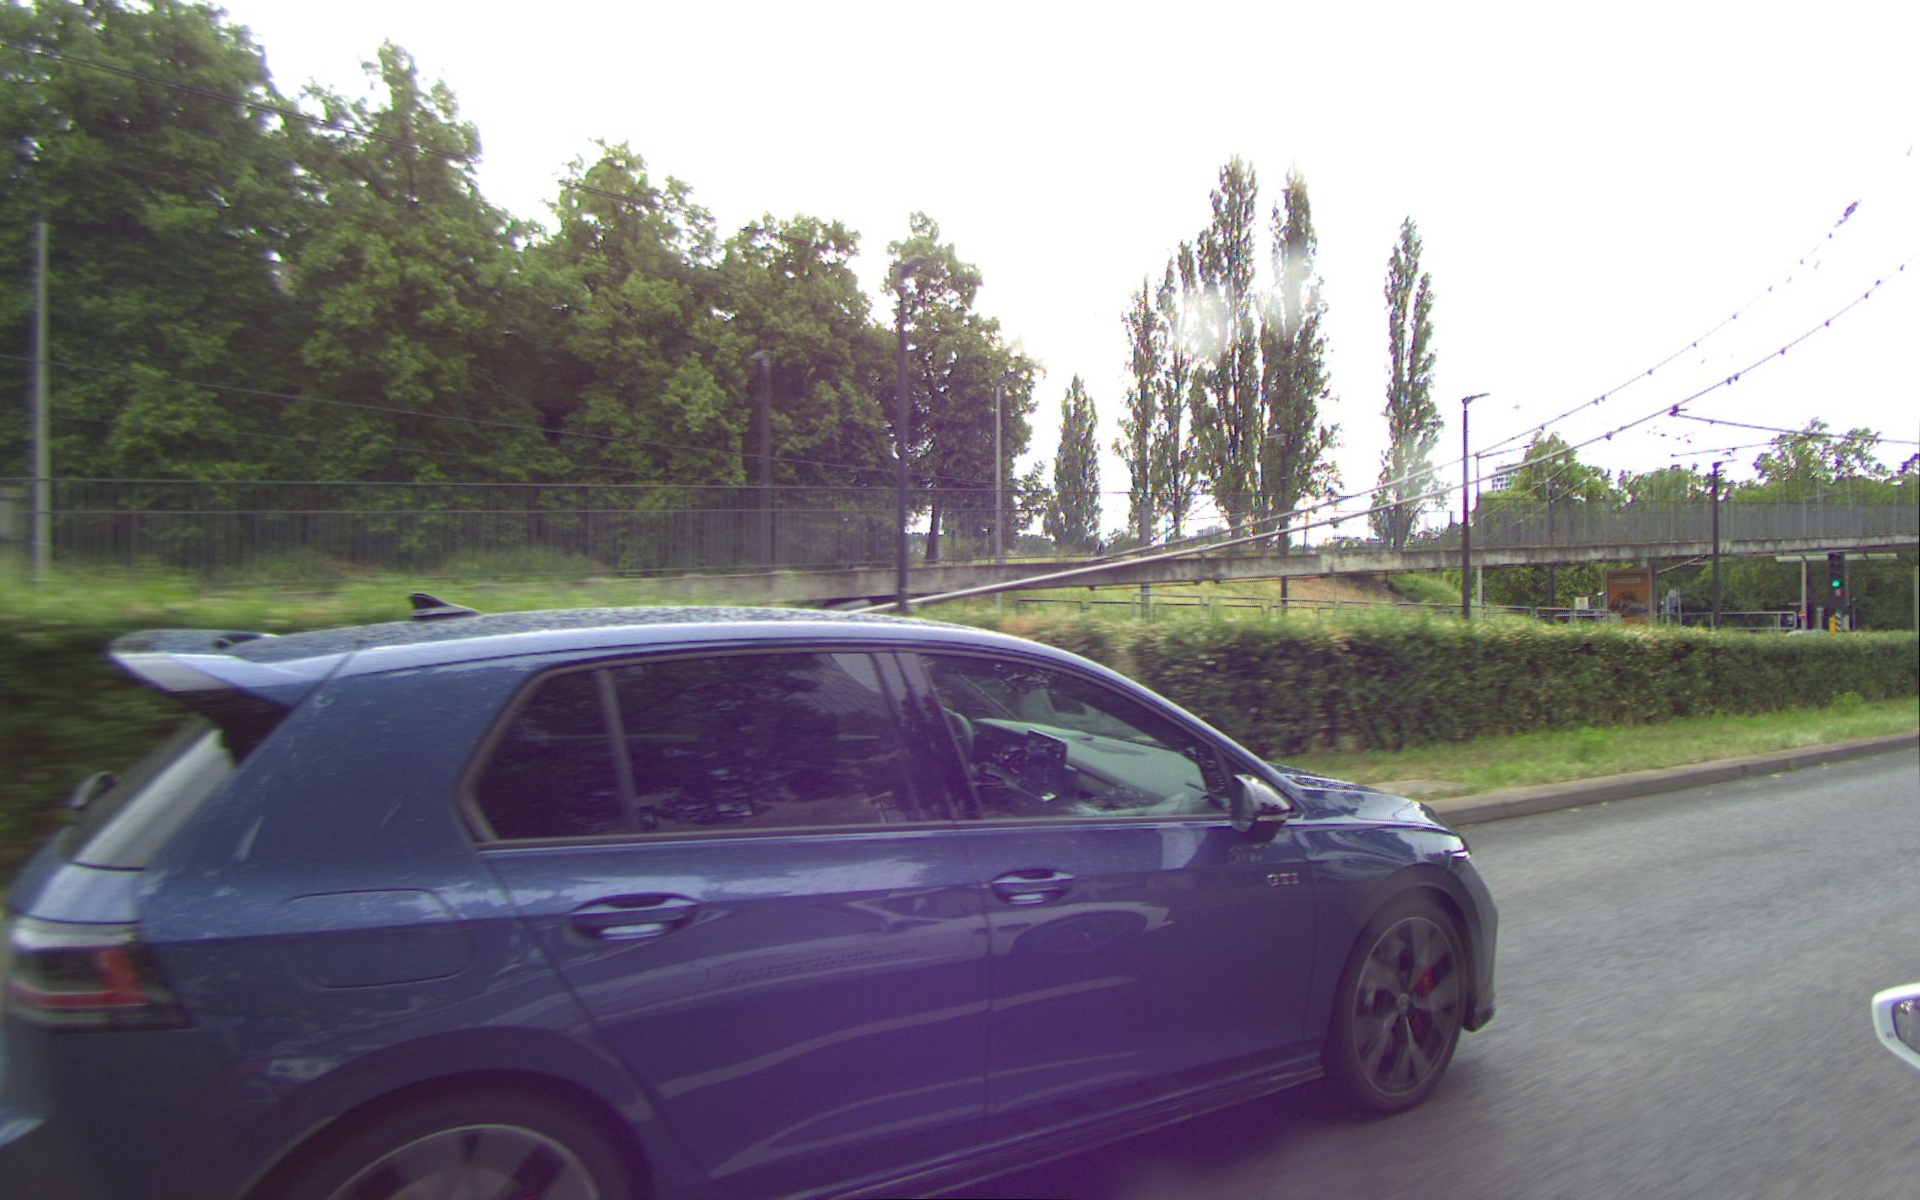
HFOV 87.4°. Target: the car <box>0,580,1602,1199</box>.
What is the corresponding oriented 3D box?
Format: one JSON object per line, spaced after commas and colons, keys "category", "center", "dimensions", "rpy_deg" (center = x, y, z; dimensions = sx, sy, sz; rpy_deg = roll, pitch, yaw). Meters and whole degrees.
{"category": "car", "center": [-0.114, 0.712, 3.102], "dimensions": [4.297, 1.397, 1.799], "rpy_deg": [2, 0, -31]}
